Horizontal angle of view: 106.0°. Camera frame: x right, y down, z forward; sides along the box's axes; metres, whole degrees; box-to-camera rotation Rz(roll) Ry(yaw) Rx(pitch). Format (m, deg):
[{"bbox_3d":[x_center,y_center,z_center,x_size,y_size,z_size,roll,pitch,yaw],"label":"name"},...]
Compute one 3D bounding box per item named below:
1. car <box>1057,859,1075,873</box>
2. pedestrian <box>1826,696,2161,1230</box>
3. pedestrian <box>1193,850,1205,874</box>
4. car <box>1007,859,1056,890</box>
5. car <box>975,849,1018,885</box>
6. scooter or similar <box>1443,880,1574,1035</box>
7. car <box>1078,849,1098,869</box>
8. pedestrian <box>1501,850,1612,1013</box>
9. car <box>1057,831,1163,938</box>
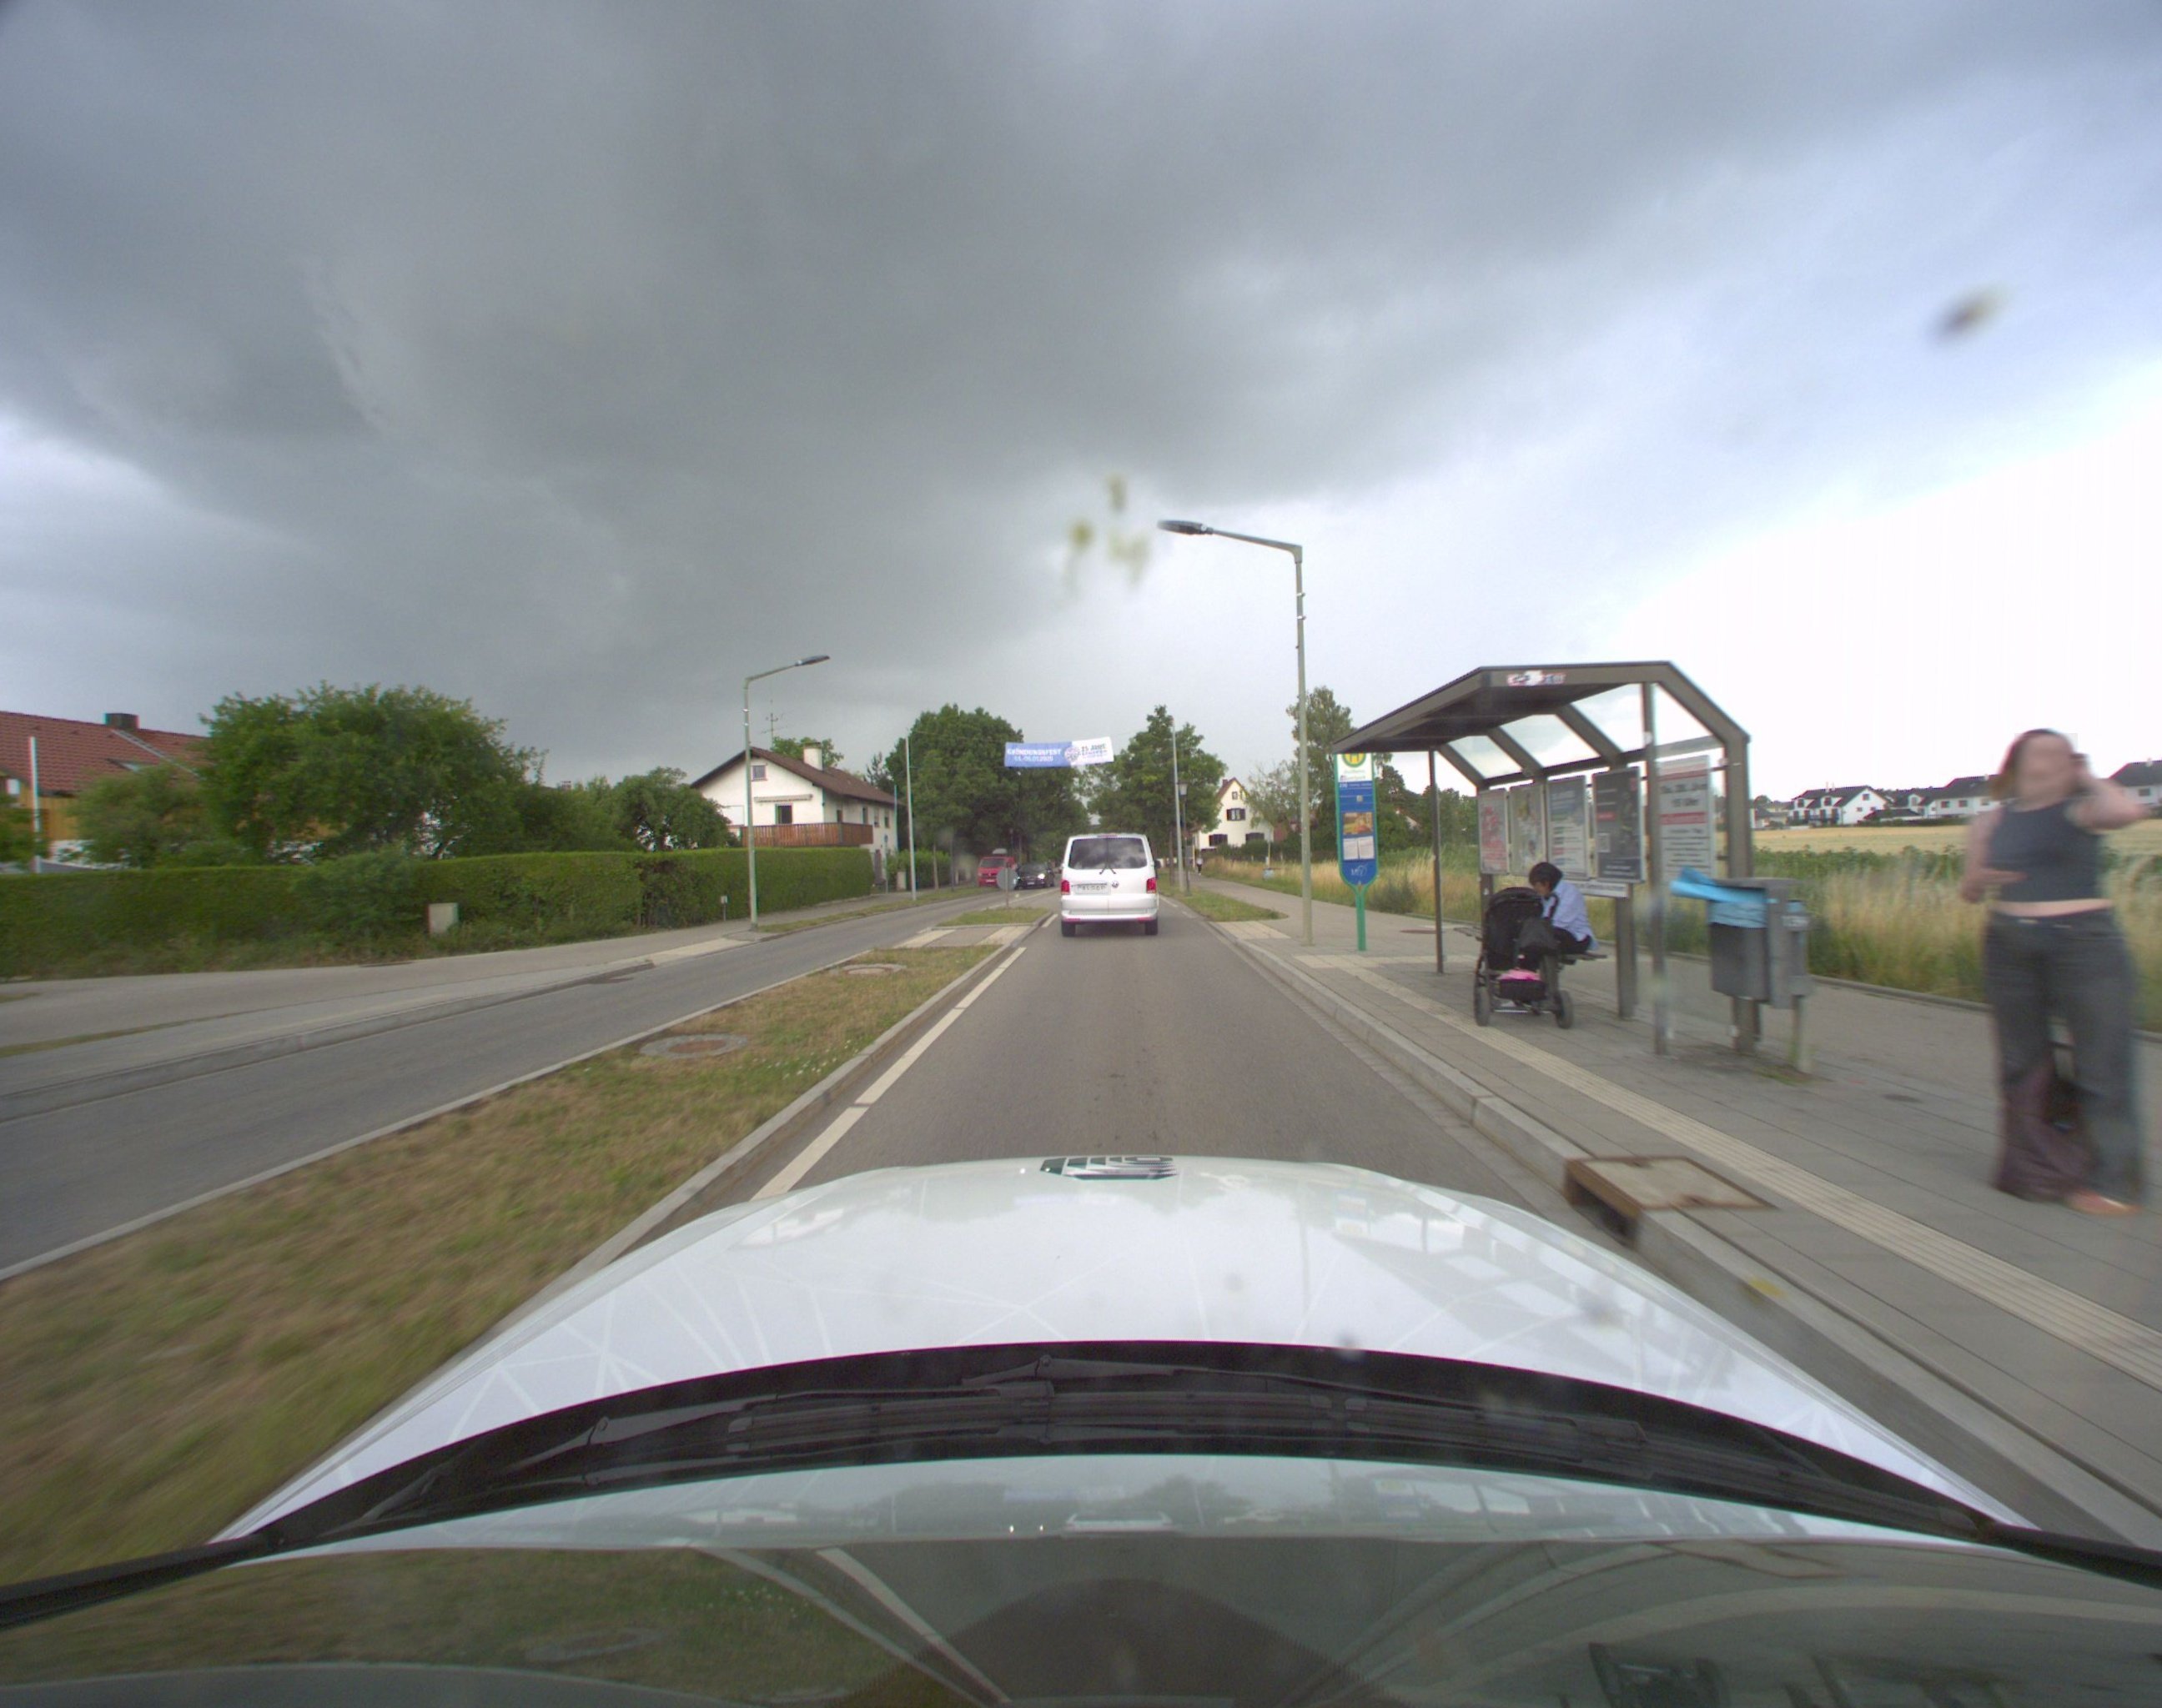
[{"bbox_3d":[-1.736,1.402,98.216,1.699,1.532,3.512,-4,0,5],"label":"car"},{"bbox_3d":[3.662,0.364,3.183,0.780,1.792,0.777,0,-1,-8],"label":"pedestrian"},{"bbox_3d":[8.847,0.577,61.218,0.833,1.755,0.871,-2,-1,6],"label":"pedestrian"},{"bbox_3d":[-2.656,1.092,44.852,1.910,1.453,4.504,-2,0,6],"label":"car"},{"bbox_3d":[-4.996,0.735,48.879,1.822,2.030,5.049,-1,0,3],"label":"car"},{"bbox_3d":[3.357,0.749,6.368,0.699,1.062,1.067,-1,-1,38],"label":"scooter or similar"},{"bbox_3d":[0.751,0.511,83.067,1.986,2.014,4.001,-1,-1,2],"label":"car"},{"bbox_3d":[3.953,0.620,6.808,0.660,1.302,0.506,0,-1,11],"label":"pedestrian"},{"bbox_3d":[0.585,0.579,16.842,1.881,1.912,4.001,-1,-1,1],"label":"car"}]
